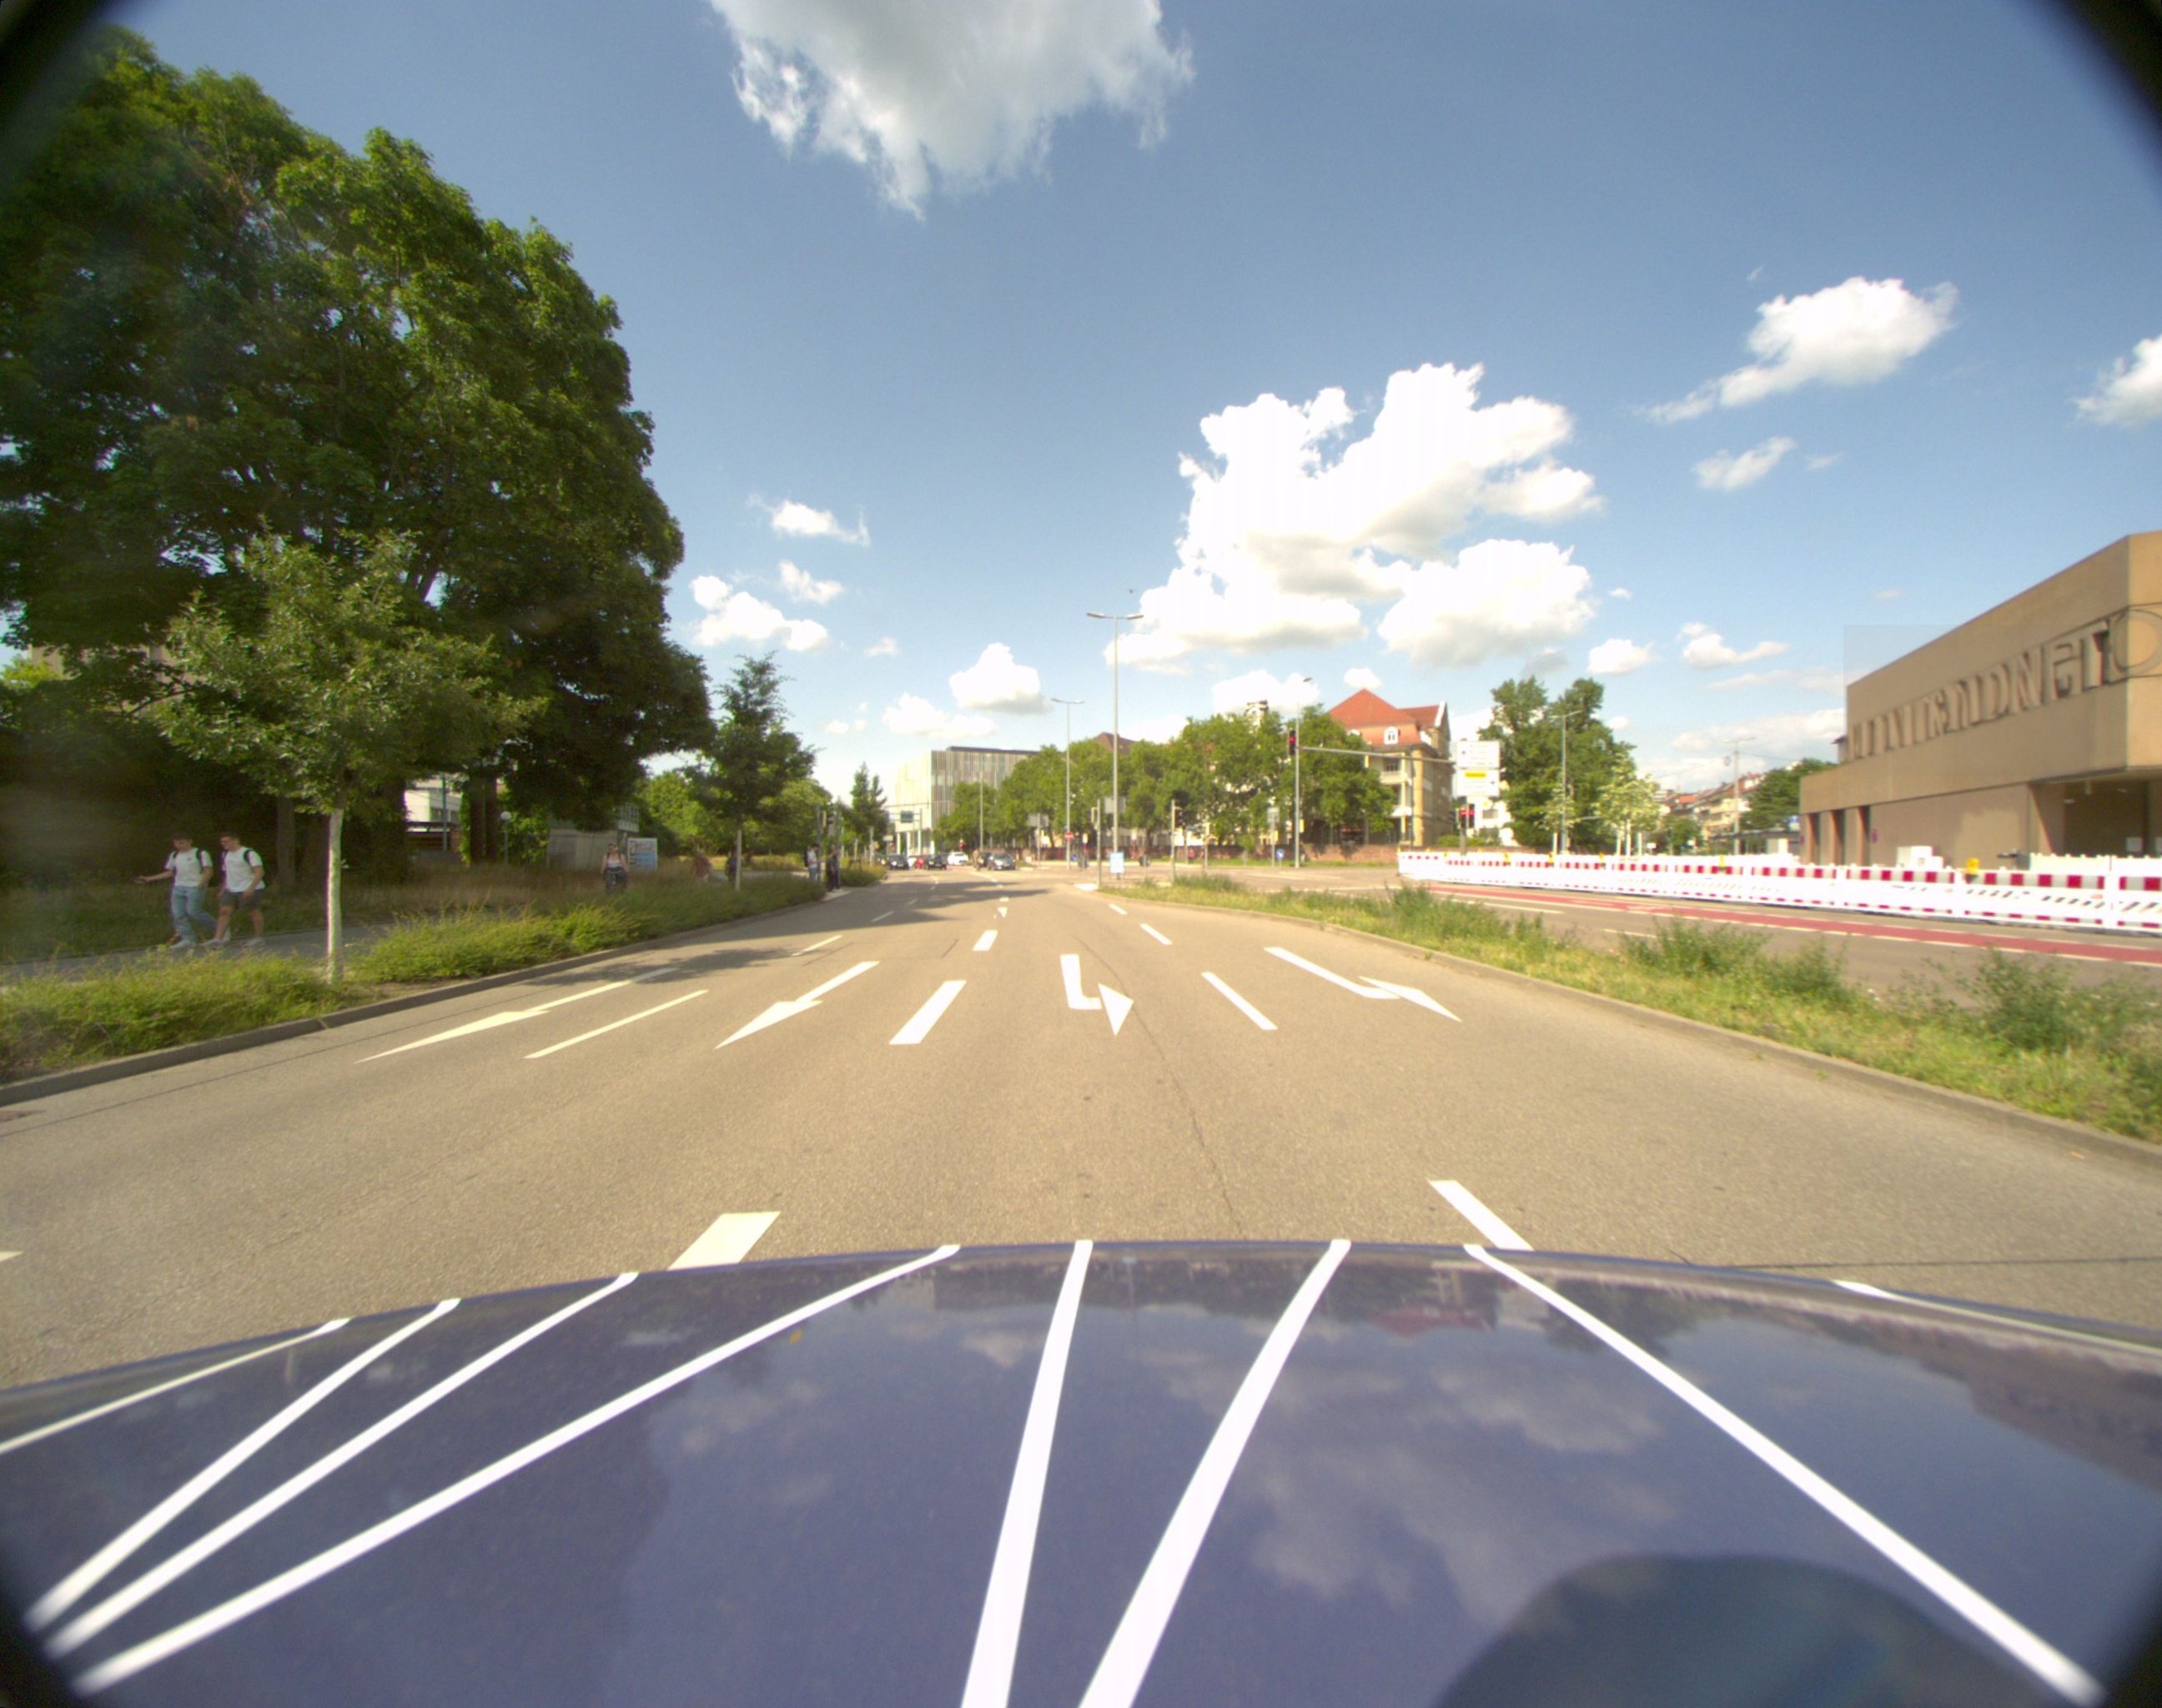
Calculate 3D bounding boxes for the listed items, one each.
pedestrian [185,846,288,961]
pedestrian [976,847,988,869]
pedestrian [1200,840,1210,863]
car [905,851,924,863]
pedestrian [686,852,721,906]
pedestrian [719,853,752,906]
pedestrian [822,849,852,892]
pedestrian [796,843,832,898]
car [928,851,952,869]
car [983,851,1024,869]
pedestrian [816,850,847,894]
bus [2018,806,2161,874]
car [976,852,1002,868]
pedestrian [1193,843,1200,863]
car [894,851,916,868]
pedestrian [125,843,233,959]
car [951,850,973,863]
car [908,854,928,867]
[{"bbox_3d":[-13.018,0.742,11.743,0.616,1.690,0.889,2,2,-5],"label":"pedestrian"},{"bbox_3d":[-7.971,0.313,61.193,0.739,1.704,0.874,-3,2,-22],"label":"pedestrian"},{"bbox_3d":[10.693,-0.235,65.512,0.582,1.982,0.621,-3,2,-27],"label":"pedestrian"},{"bbox_3d":[-18.142,0.308,82.551,1.911,1.127,4.097,-1,1,-14],"label":"car"},{"bbox_3d":[-12.388,0.810,24.980,0.768,1.725,0.718,-2,2,-8],"label":"pedestrian"},{"bbox_3d":[-11.562,0.835,25.445,0.768,1.725,0.718,-2,2,-8],"label":"pedestrian"},{"bbox_3d":[-10.111,0.688,31.488,0.928,1.725,0.768,-2,2,-2],"label":"pedestrian"},{"bbox_3d":[-9.873,0.602,28.128,0.965,2.002,0.768,-2,2,-2],"label":"pedestrian"},{"bbox_3d":[-12.671,0.516,68.005,1.828,1.455,3.994,-1,1,-14],"label":"car"},{"bbox_3d":[-6.362,0.452,62.320,2.002,1.368,4.260,-2,1,-26],"label":"car"},{"bbox_3d":[-10.082,0.702,30.712,0.928,1.725,0.768,-2,2,-2],"label":"pedestrian"},{"bbox_3d":[51.715,-0.644,34.425,3.467,3.165,23.823,0,1,30],"label":"bus"},{"bbox_3d":[-8.688,0.562,71.620,1.735,1.327,3.783,-2,1,-18],"label":"car"},{"bbox_3d":[10.190,-0.102,67.170,0.368,1.722,0.451,-1,2,36],"label":"pedestrian"},{"bbox_3d":[-16.002,0.489,69.005,1.827,1.455,3.995,-1,1,-13],"label":"car"},{"bbox_3d":[-13.744,0.690,11.604,0.616,1.690,0.889,2,2,-5],"label":"pedestrian"},{"bbox_3d":[-13.224,0.252,84.334,1.781,1.347,3.993,-2,1,-17],"label":"car"},{"bbox_3d":[-15.983,0.605,74.395,1.599,1.127,3.623,-1,1,-16],"label":"car"}]
